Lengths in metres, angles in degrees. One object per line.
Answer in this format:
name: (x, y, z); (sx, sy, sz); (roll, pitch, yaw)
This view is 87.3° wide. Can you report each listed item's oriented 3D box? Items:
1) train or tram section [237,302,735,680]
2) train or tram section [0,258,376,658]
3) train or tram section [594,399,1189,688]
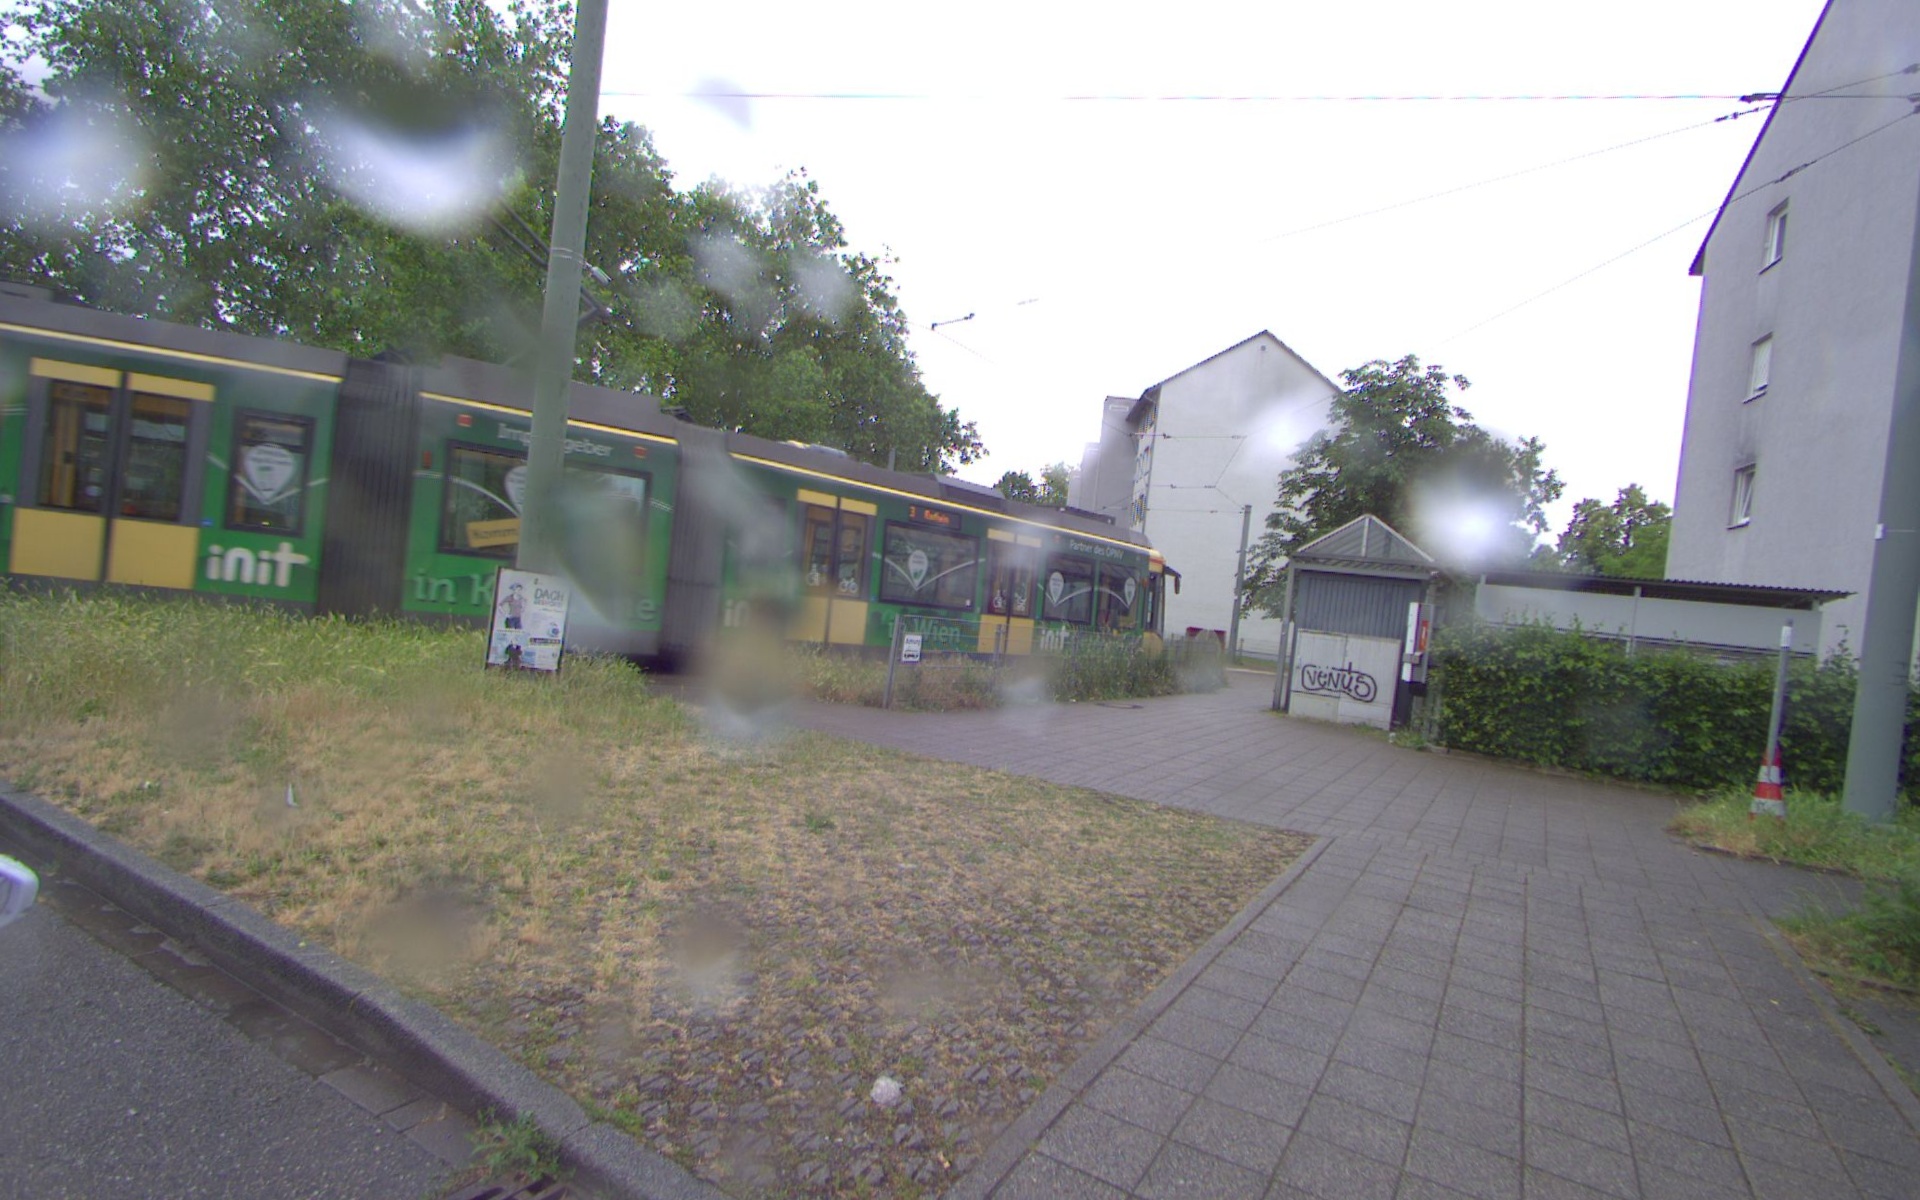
train or tram section: (-5.832, -1.082, 12.777); (4.933, 3.598, 2.747); (6, 1, -31)
train or tram section: (-13.398, -1.943, 9.643); (12.943, 3.597, 2.757); (7, 0, -20)
train or tram section: (-0.194, -0.435, 18.361); (2.731, 3.597, 12.141); (7, 0, 42)
